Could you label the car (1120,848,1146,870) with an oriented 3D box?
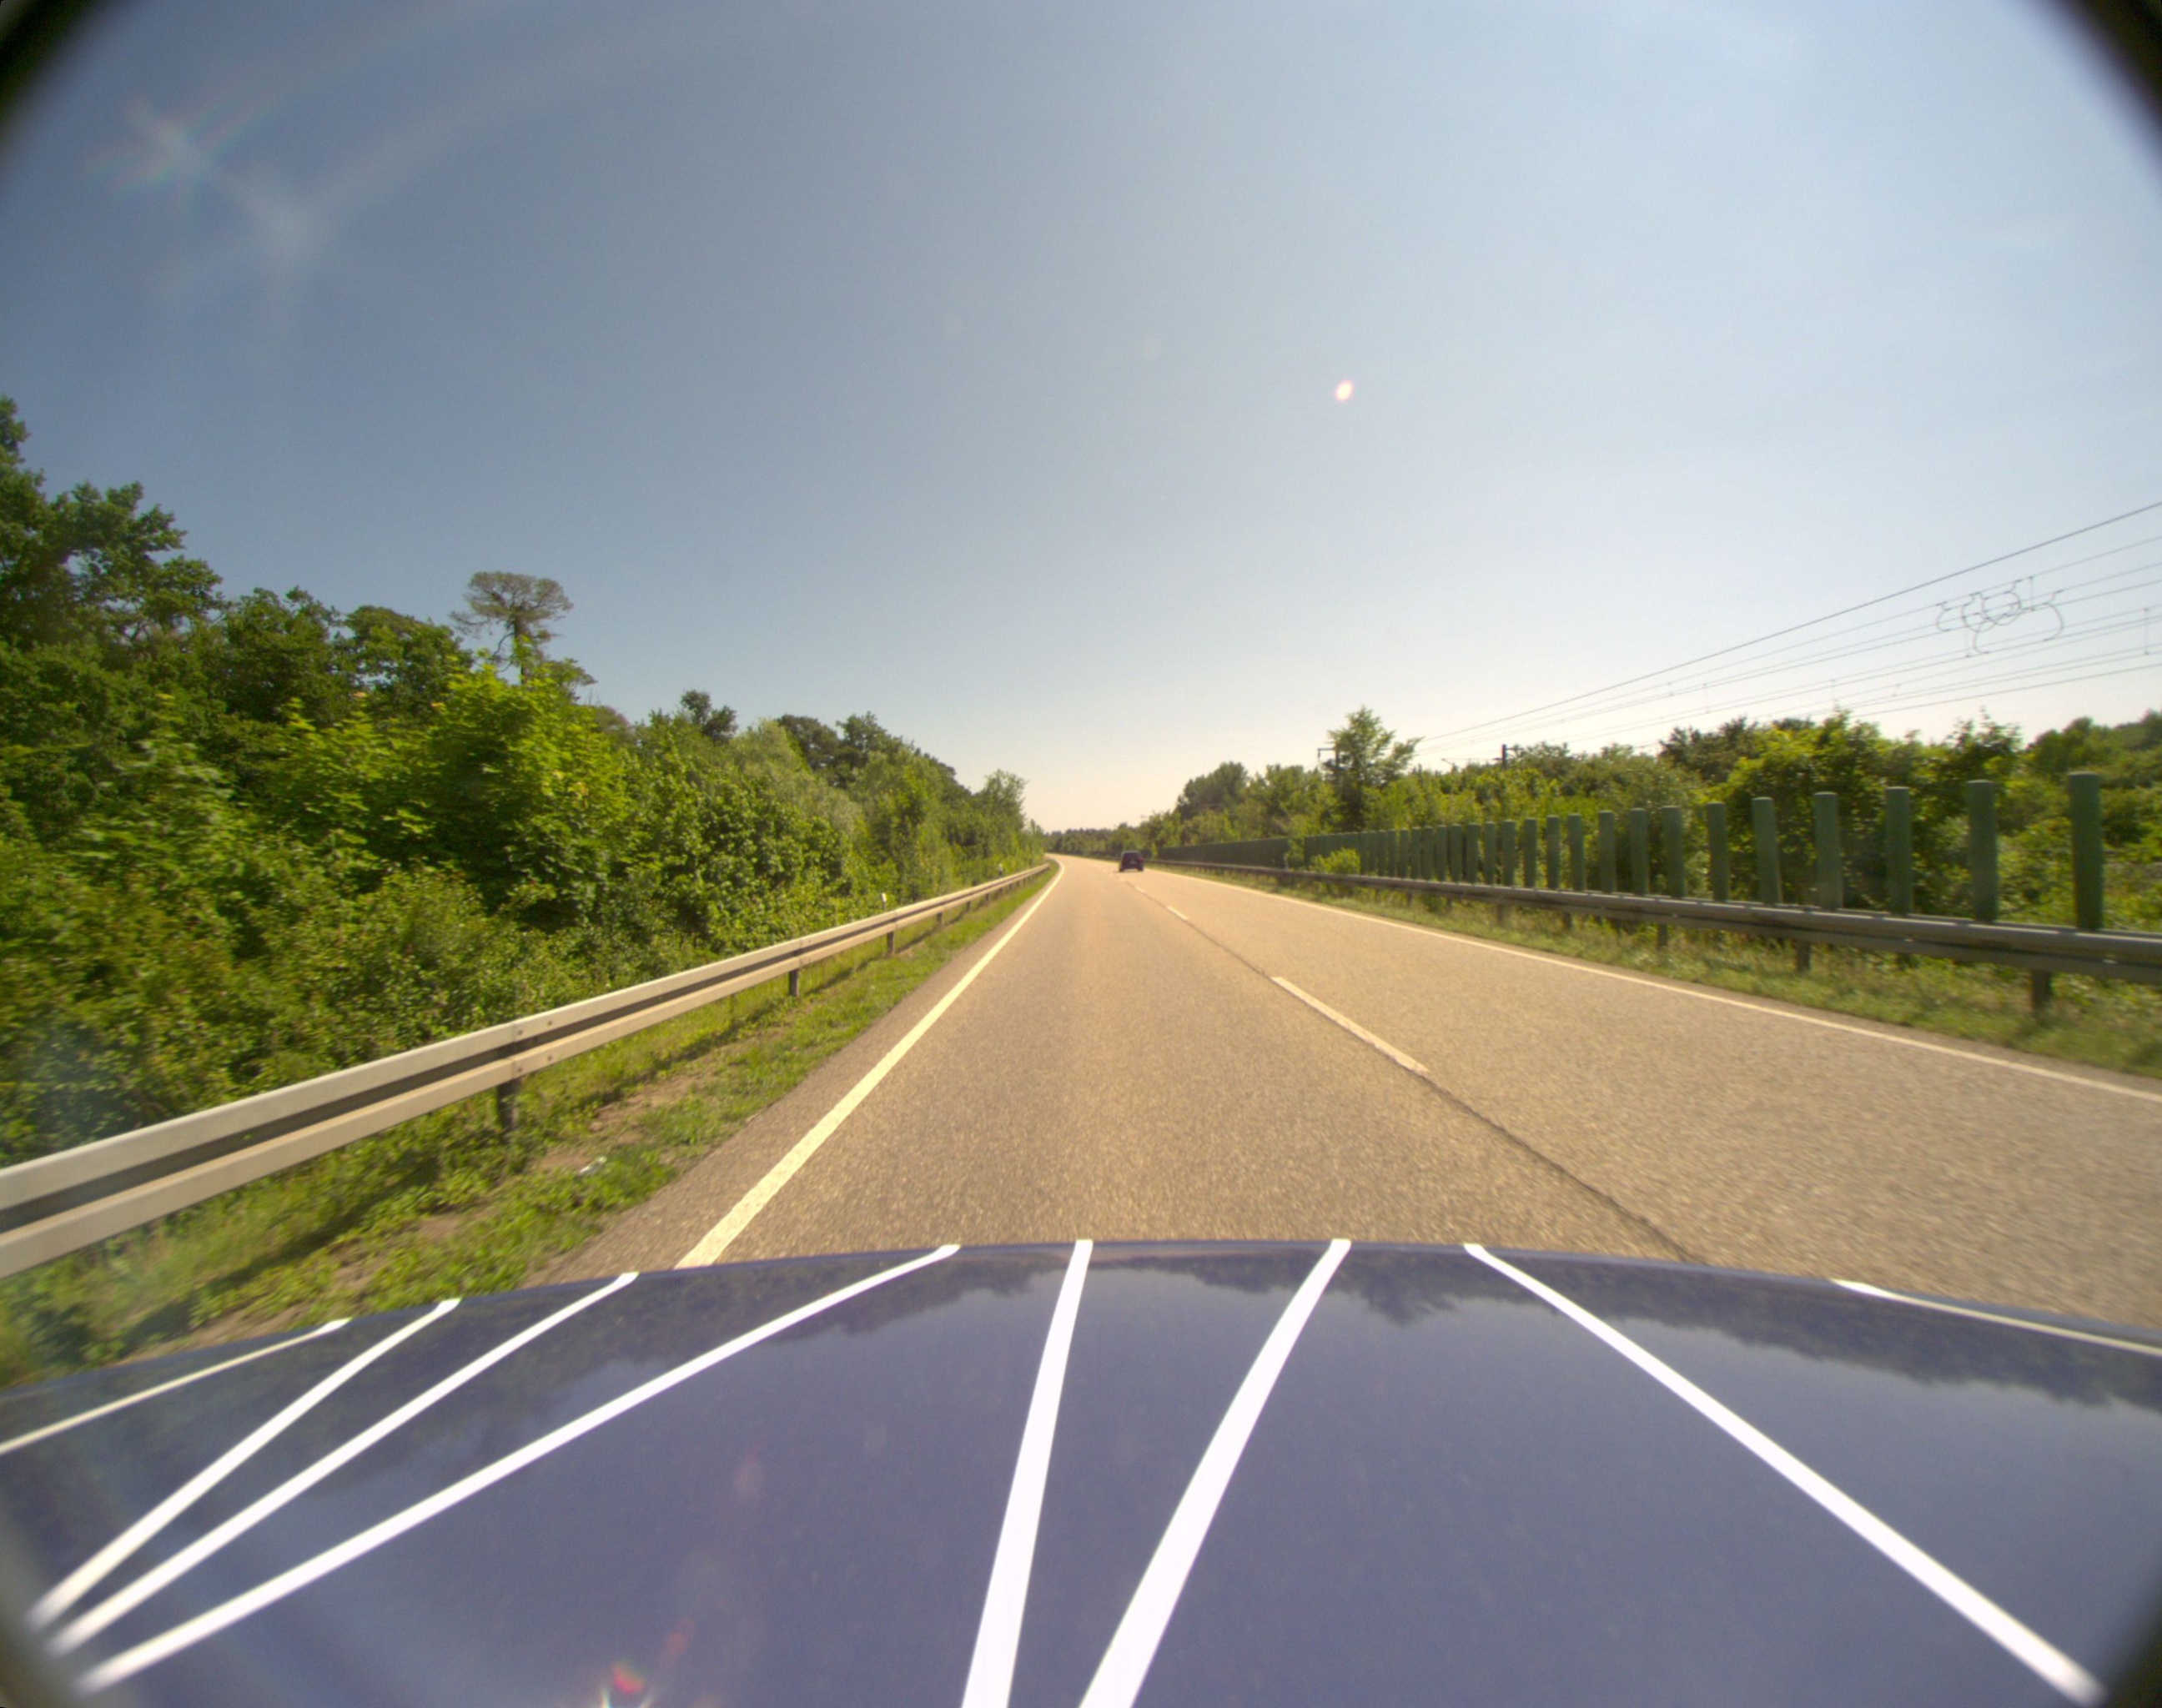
[{"bbox_3d":[4.195,0.375,61.634,1.768,1.631,4.126,-2,0,0],"label":"car"}]
